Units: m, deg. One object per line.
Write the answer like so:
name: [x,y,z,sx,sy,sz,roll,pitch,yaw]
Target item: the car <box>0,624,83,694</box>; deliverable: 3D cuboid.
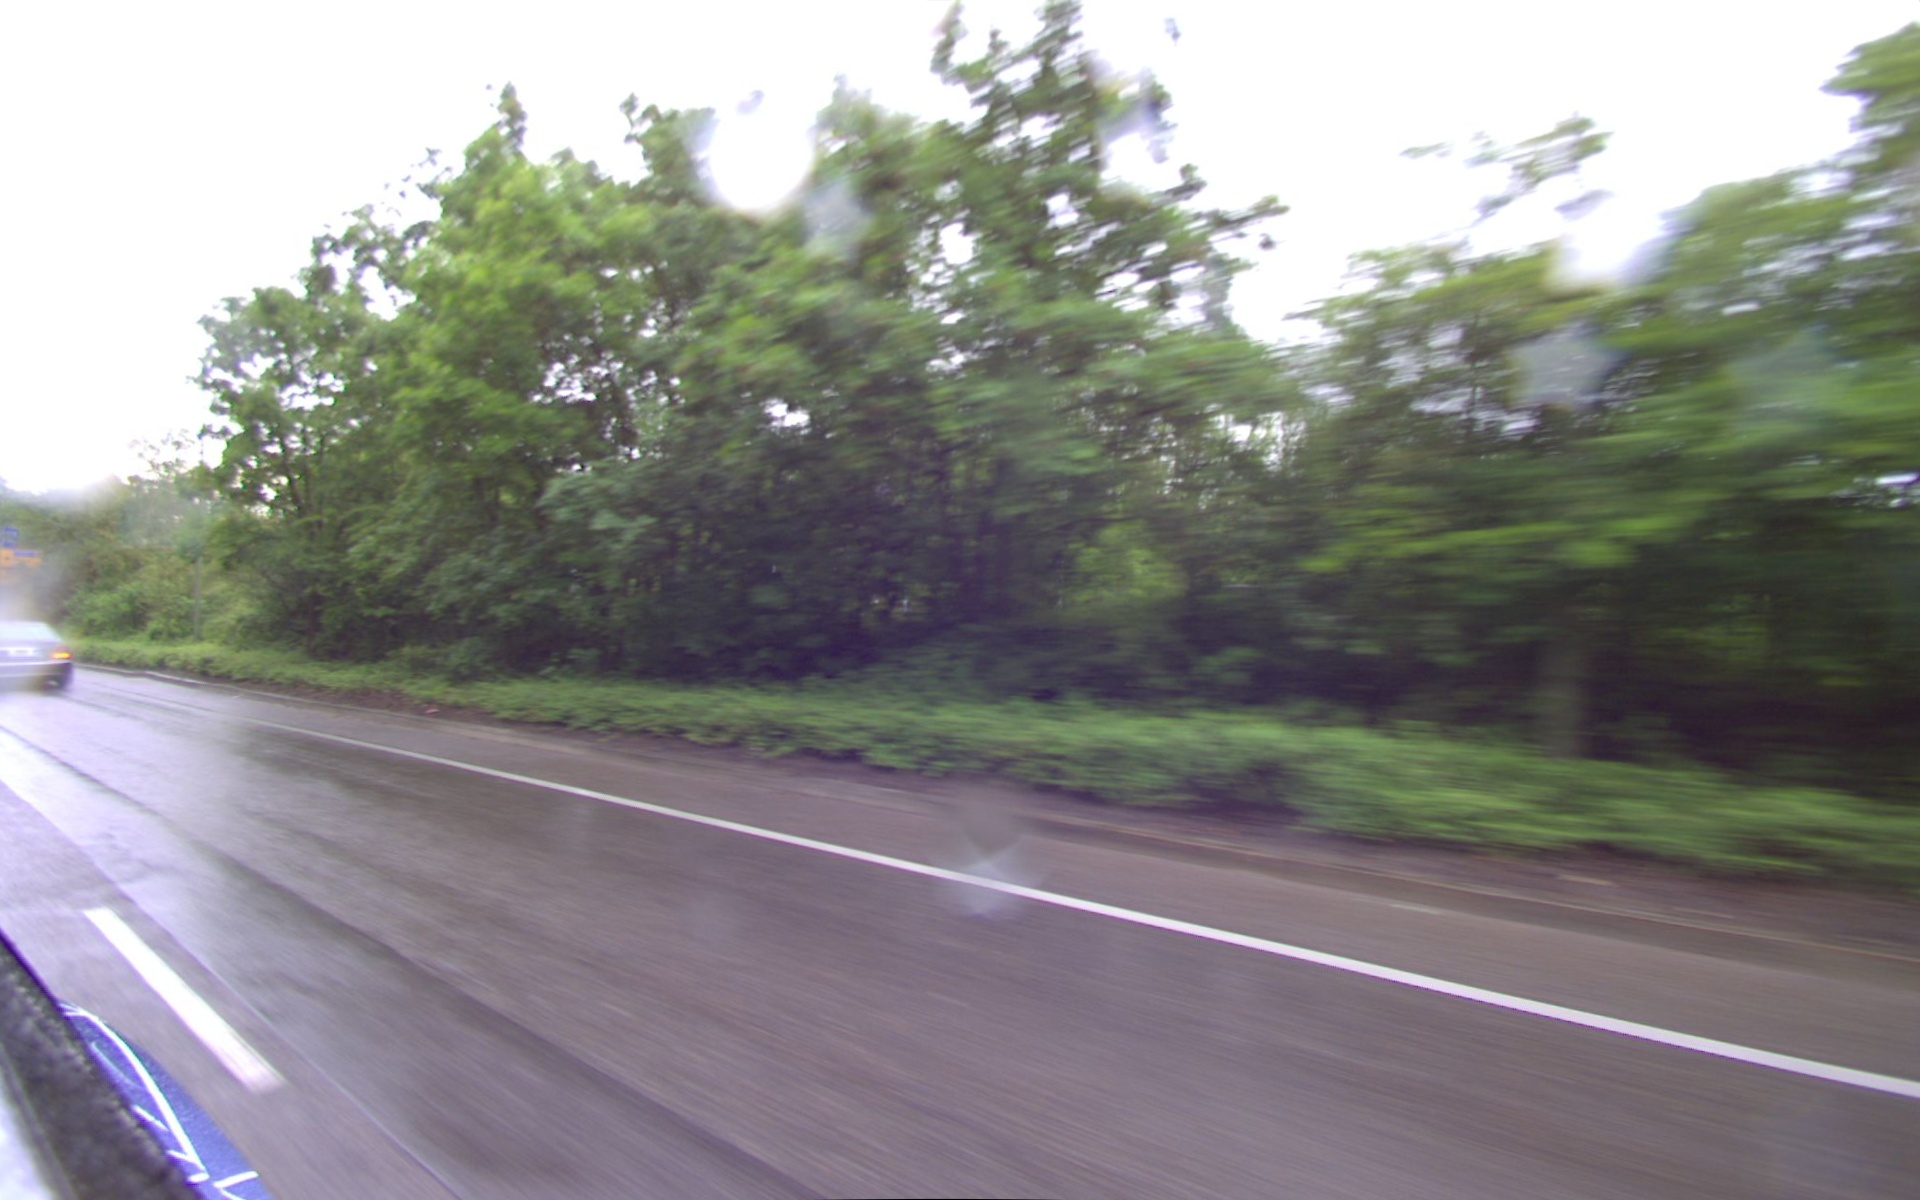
car: [-20.575,1.219,21.758,4.248,1.374,1.973,-1,-1,40]
